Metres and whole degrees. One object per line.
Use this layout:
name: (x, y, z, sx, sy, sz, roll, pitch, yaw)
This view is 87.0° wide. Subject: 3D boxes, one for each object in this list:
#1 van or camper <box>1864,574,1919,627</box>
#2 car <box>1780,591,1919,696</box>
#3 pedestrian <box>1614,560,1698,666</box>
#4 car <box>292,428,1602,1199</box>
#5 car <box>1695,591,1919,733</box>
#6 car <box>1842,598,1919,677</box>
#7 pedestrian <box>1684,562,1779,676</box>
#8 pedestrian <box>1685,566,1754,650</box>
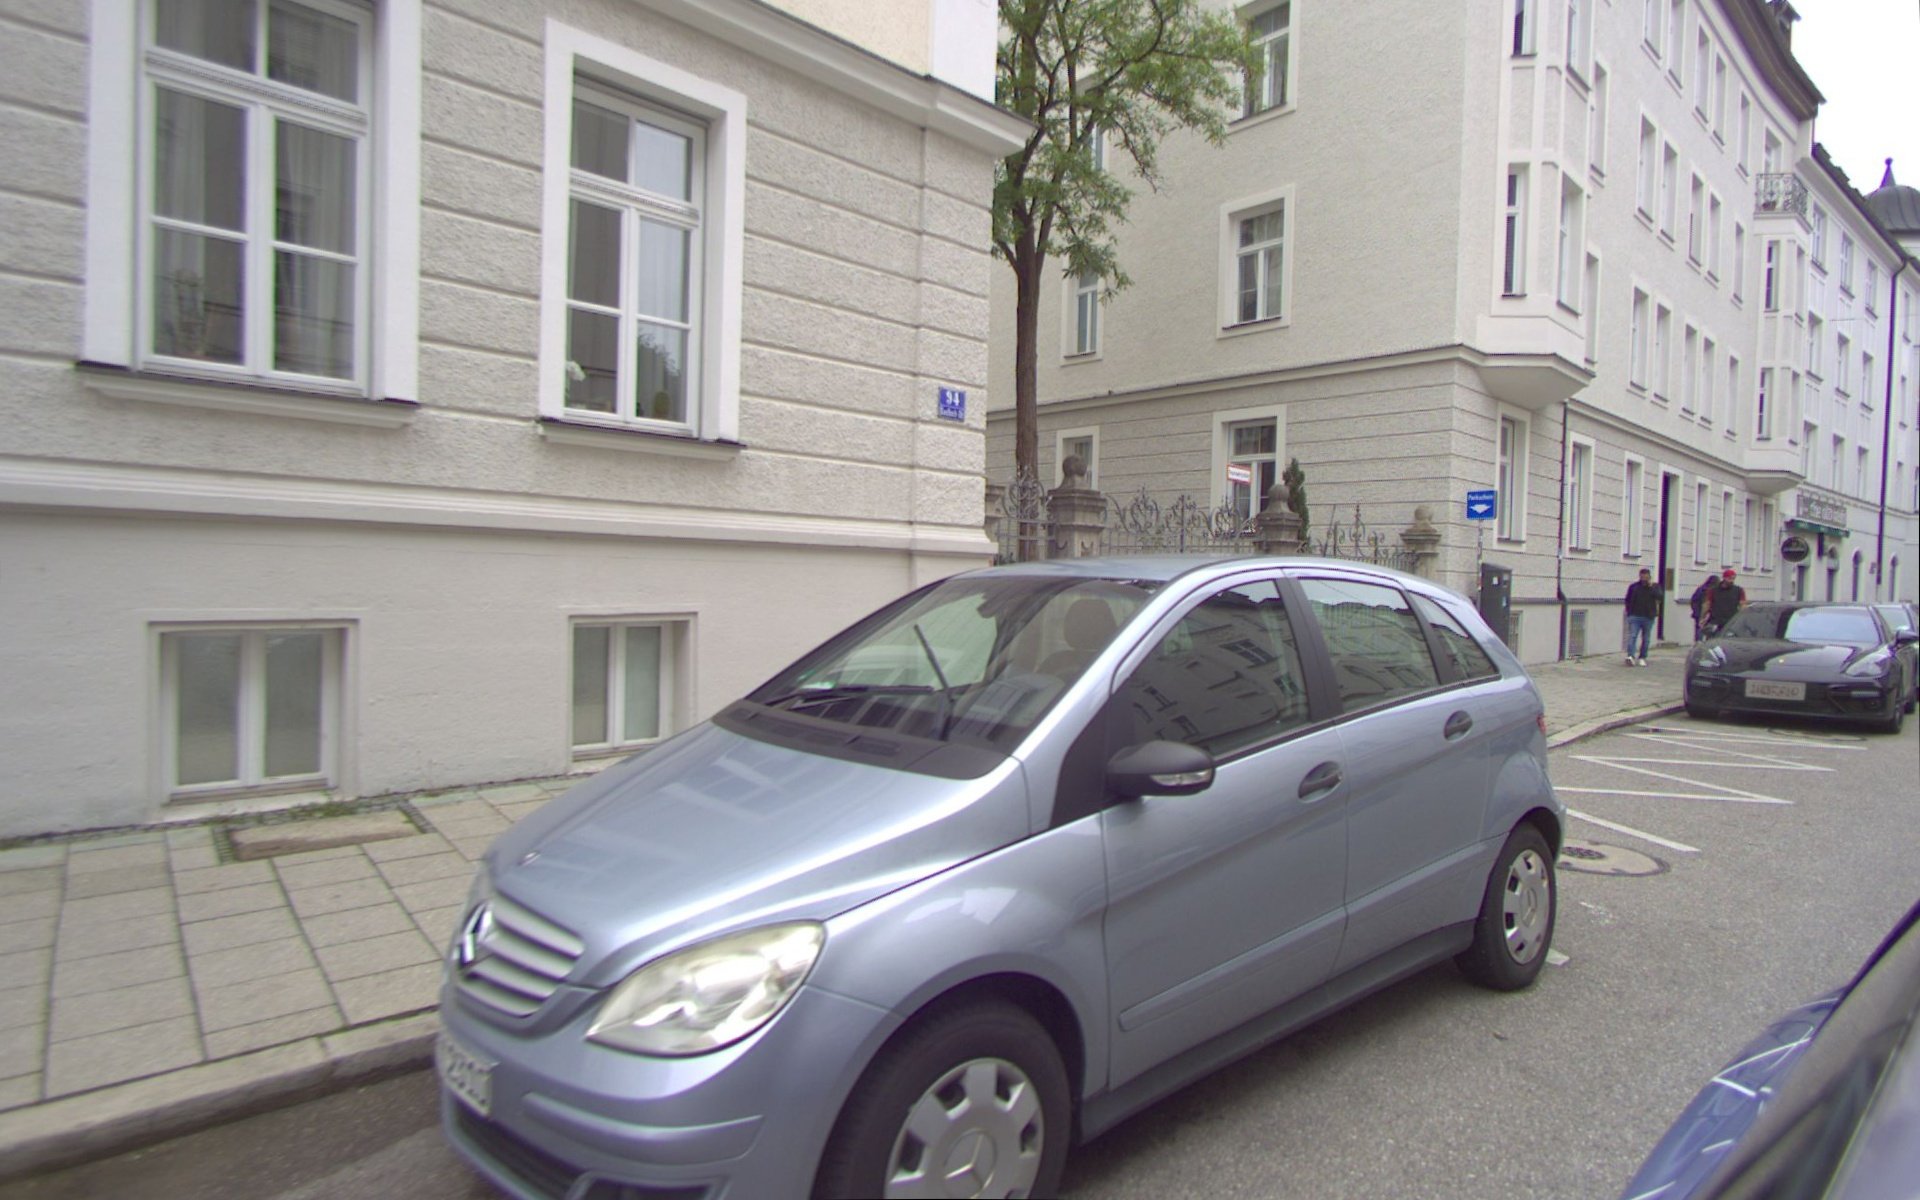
van or camper: (53.052, 0.079, 54.922, 5.851, 2.748, 2.268, 3, -1, 43)
car: (14.839, 0.641, 16.331, 4.343, 1.505, 1.763, 1, -1, -41)
pedestrian: (12.632, 0.213, 18.368, 1.091, 1.808, 0.886, 0, 4, -39)
car: (0.387, 0.580, 3.482, 4.321, 1.589, 1.826, 1, -1, -39)
car: (11.394, 0.668, 13.099, 4.629, 1.476, 1.998, 0, 1, -40)
car: (18.809, 0.696, 19.934, 4.892, 1.417, 1.837, 1, 0, -45)
pedestrian: (13.111, 0.303, 17.201, 1.090, 1.833, 0.887, 1, 3, -35)
pedestrian: (17.564, 0.168, 23.395, 1.091, 1.834, 0.886, 1, 5, -40)
